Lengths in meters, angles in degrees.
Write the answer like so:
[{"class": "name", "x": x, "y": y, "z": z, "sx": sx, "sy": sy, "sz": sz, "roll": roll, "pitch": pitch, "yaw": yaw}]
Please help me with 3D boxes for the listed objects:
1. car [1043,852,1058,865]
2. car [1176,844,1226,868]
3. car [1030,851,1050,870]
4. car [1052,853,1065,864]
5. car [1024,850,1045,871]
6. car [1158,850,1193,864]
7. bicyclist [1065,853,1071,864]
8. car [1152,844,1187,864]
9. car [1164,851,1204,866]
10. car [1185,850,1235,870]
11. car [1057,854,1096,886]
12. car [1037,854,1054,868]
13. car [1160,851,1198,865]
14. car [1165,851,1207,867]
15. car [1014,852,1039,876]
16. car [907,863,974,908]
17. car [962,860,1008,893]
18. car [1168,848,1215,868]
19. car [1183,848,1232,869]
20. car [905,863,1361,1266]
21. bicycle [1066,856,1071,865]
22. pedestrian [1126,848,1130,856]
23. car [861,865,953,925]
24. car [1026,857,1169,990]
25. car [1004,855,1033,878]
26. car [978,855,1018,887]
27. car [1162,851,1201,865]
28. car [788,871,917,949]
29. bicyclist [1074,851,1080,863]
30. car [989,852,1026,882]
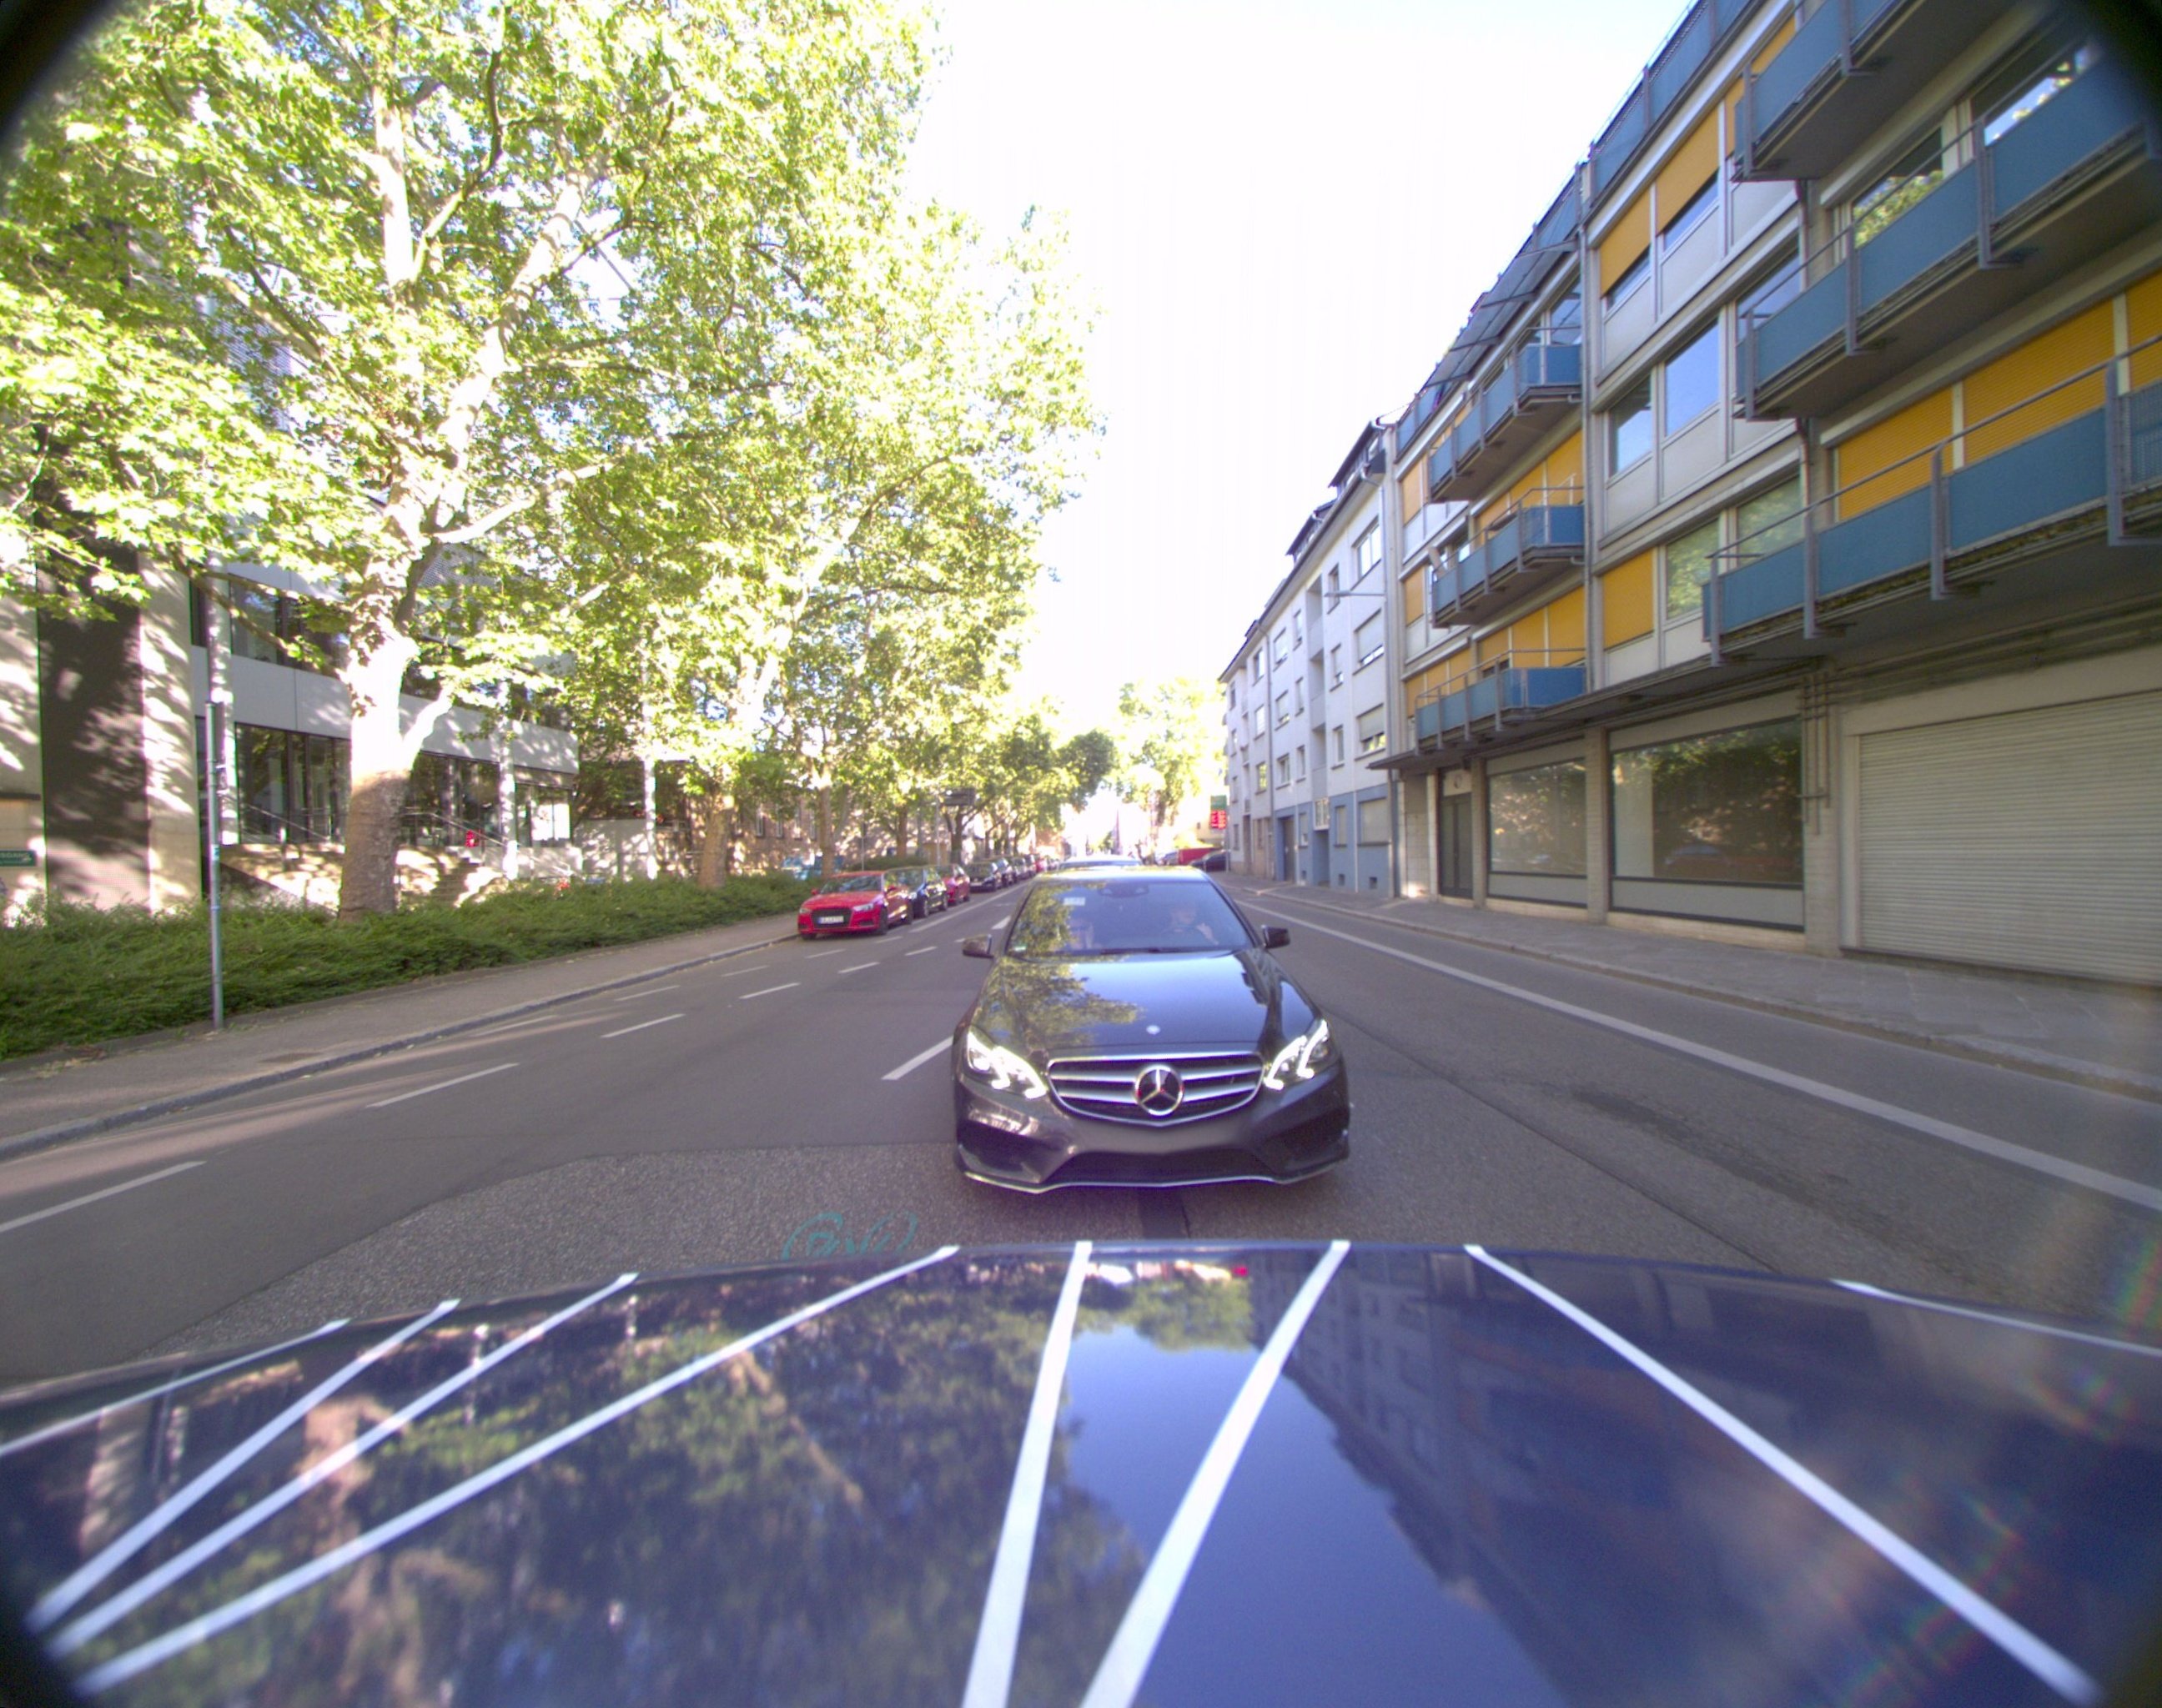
[{"class": "car", "x": -3.793, "y": 0.602, "z": 95.685, "sx": 1.686, "sy": 1.546, "sz": 3.836, "roll": -2, "pitch": 0, "yaw": 0}, {"class": "car", "x": 10.071, "y": 0.169, "z": 63.979, "sx": 3.905, "sy": 1.895, "sz": 1.749, "roll": -2, "pitch": 1, "yaw": 2}, {"class": "car", "x": -4.101, "y": 0.639, "z": 76.017, "sx": 1.686, "sy": 1.749, "sz": 3.836, "roll": -2, "pitch": 0, "yaw": 0}, {"class": "car", "x": -3.131, "y": 0.654, "z": 106.827, "sx": 1.686, "sy": 1.475, "sz": 3.836, "roll": -2, "pitch": 0, "yaw": 0}, {"class": "car", "x": -4.255, "y": 0.593, "z": 70.226, "sx": 1.646, "sy": 1.839, "sz": 3.836, "roll": -2, "pitch": 0, "yaw": 0}, {"class": "car", "x": 10.538, "y": 0.337, "z": 84.815, "sx": 3.782, "sy": 1.432, "sz": 1.539, "roll": -2, "pitch": 1, "yaw": 2}, {"class": "bicyclist", "x": -1.781, "y": 0.628, "z": 106.976, "sx": 0.756, "sy": 1.512, "sz": 0.768, "roll": -2, "pitch": 1, "yaw": -1}, {"class": "car", "x": 10.398, "y": 0.029, "z": 89.308, "sx": 3.905, "sy": 2.164, "sz": 1.725, "roll": -2, "pitch": 1, "yaw": 2}, {"class": "car", "x": 10.401, "y": 0.433, "z": 76.987, "sx": 3.905, "sy": 1.366, "sz": 1.594, "roll": -2, "pitch": 1, "yaw": 2}, {"class": "car", "x": 9.957, "y": 0.461, "z": 58.729, "sx": 3.598, "sy": 1.401, "sz": 1.534, "roll": -2, "pitch": 0, "yaw": 2}, {"class": "car", "x": -0.206, "y": 0.781, "z": 39.305, "sx": 1.693, "sy": 1.432, "sz": 3.902, "roll": -3, "pitch": 1, "yaw": 3}, {"class": "car", "x": -4.055, "y": 0.749, "z": 87.062, "sx": 1.639, "sy": 1.493, "sz": 3.752, "roll": -2, "pitch": 0, "yaw": 0}, {"class": "car", "x": 10.526, "y": 0.405, "z": 82.130, "sx": 3.905, "sy": 1.325, "sz": 1.525, "roll": -2, "pitch": 1, "yaw": 2}, {"class": "car", "x": 10.370, "y": 0.456, "z": 74.965, "sx": 3.905, "sy": 1.366, "sz": 1.594, "roll": -2, "pitch": 1, "yaw": 2}, {"class": "car", "x": -4.220, "y": 0.757, "z": 59.368, "sx": 1.663, "sy": 1.704, "sz": 3.836, "roll": -2, "pitch": 0, "yaw": 0}, {"class": "car", "x": -5.012, "y": 1.096, "z": 27.603, "sx": 1.666, "sy": 1.426, "sz": 3.781, "roll": -2, "pitch": 0, "yaw": 0}, {"class": "car", "x": -4.668, "y": 1.050, "z": 37.403, "sx": 1.686, "sy": 1.443, "sz": 4.000, "roll": -2, "pitch": 0, "yaw": 0}, {"class": "car", "x": 9.712, "y": 0.335, "z": 66.774, "sx": 3.905, "sy": 1.577, "sz": 1.603, "roll": -2, "pitch": 1, "yaw": 2}, {"class": "car", "x": 10.126, "y": 0.361, "z": 61.134, "sx": 3.668, "sy": 1.501, "sz": 1.602, "roll": -2, "pitch": 1, "yaw": 2}, {"class": "car", "x": 0.210, "y": 0.898, "z": 5.282, "sx": 1.828, "sy": 1.495, "sz": 4.293, "roll": -2, "pitch": 1, "yaw": 0}, {"class": "bicycle", "x": -1.765, "y": 0.907, "z": 106.960, "sx": 0.667, "sy": 1.093, "sz": 1.814, "roll": -2, "pitch": 1, "yaw": 0}, {"class": "pedestrian", "x": 12.901, "y": -0.454, "z": 209.126, "sx": 0.884, "sy": 2.108, "sz": 0.821, "roll": -2, "pitch": 1, "yaw": 4}, {"class": "car", "x": -5.015, "y": 1.131, "z": 22.418, "sx": 1.686, "sy": 1.458, "sz": 4.000, "roll": -3, "pitch": 0, "yaw": 0}, {"class": "car", "x": 0.202, "y": 0.883, "z": 11.658, "sx": 1.732, "sy": 1.538, "sz": 4.293, "roll": -2, "pitch": 1, "yaw": 0}, {"class": "car", "x": -4.429, "y": 0.879, "z": 54.512, "sx": 1.686, "sy": 1.552, "sz": 3.868, "roll": -2, "pitch": 0, "yaw": 0}, {"class": "car", "x": -4.540, "y": 0.910, "z": 42.062, "sx": 1.686, "sy": 1.610, "sz": 3.836, "roll": -2, "pitch": 0, "yaw": 0}, {"class": "car", "x": 10.517, "y": 0.432, "z": 79.741, "sx": 3.905, "sy": 1.325, "sz": 1.525, "roll": -2, "pitch": 1, "yaw": 2}, {"class": "car", "x": -5.134, "y": 1.191, "z": 17.659, "sx": 1.724, "sy": 1.412, "sz": 4.030, "roll": -4, "pitch": 0, "yaw": -1}, {"class": "bicyclist", "x": -0.593, "y": 0.476, "z": 110.162, "sx": 0.756, "sy": 1.714, "sz": 0.768, "roll": -2, "pitch": 1, "yaw": -1}, {"class": "car", "x": -4.597, "y": 0.775, "z": 48.188, "sx": 1.819, "sy": 1.758, "sz": 4.431, "roll": -2, "pitch": 0, "yaw": 0}]
